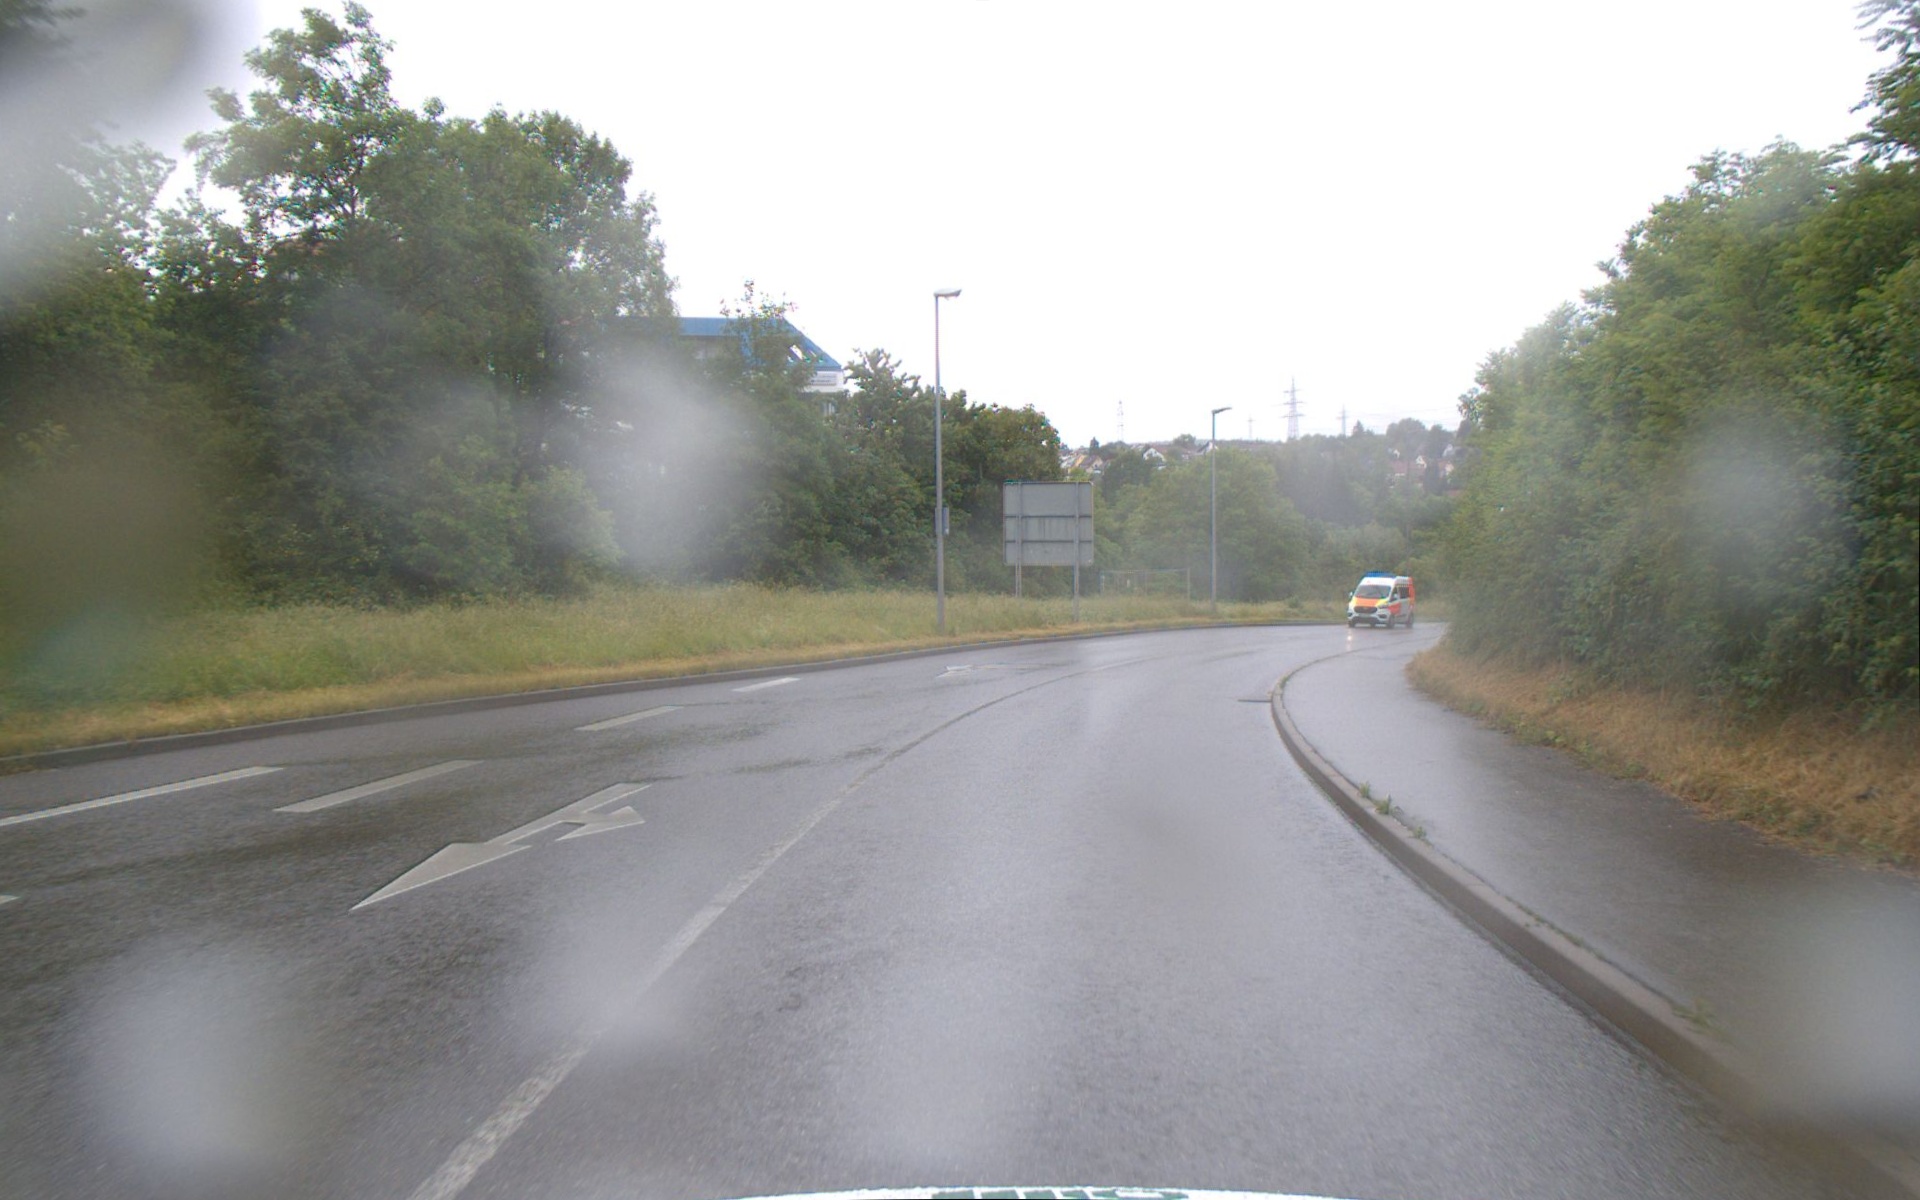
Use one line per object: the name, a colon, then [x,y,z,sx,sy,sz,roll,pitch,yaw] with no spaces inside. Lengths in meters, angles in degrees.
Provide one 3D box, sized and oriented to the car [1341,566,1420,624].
car: [19.179,-0.189,75.277,2.007,2.459,5.445,3,1,29]
